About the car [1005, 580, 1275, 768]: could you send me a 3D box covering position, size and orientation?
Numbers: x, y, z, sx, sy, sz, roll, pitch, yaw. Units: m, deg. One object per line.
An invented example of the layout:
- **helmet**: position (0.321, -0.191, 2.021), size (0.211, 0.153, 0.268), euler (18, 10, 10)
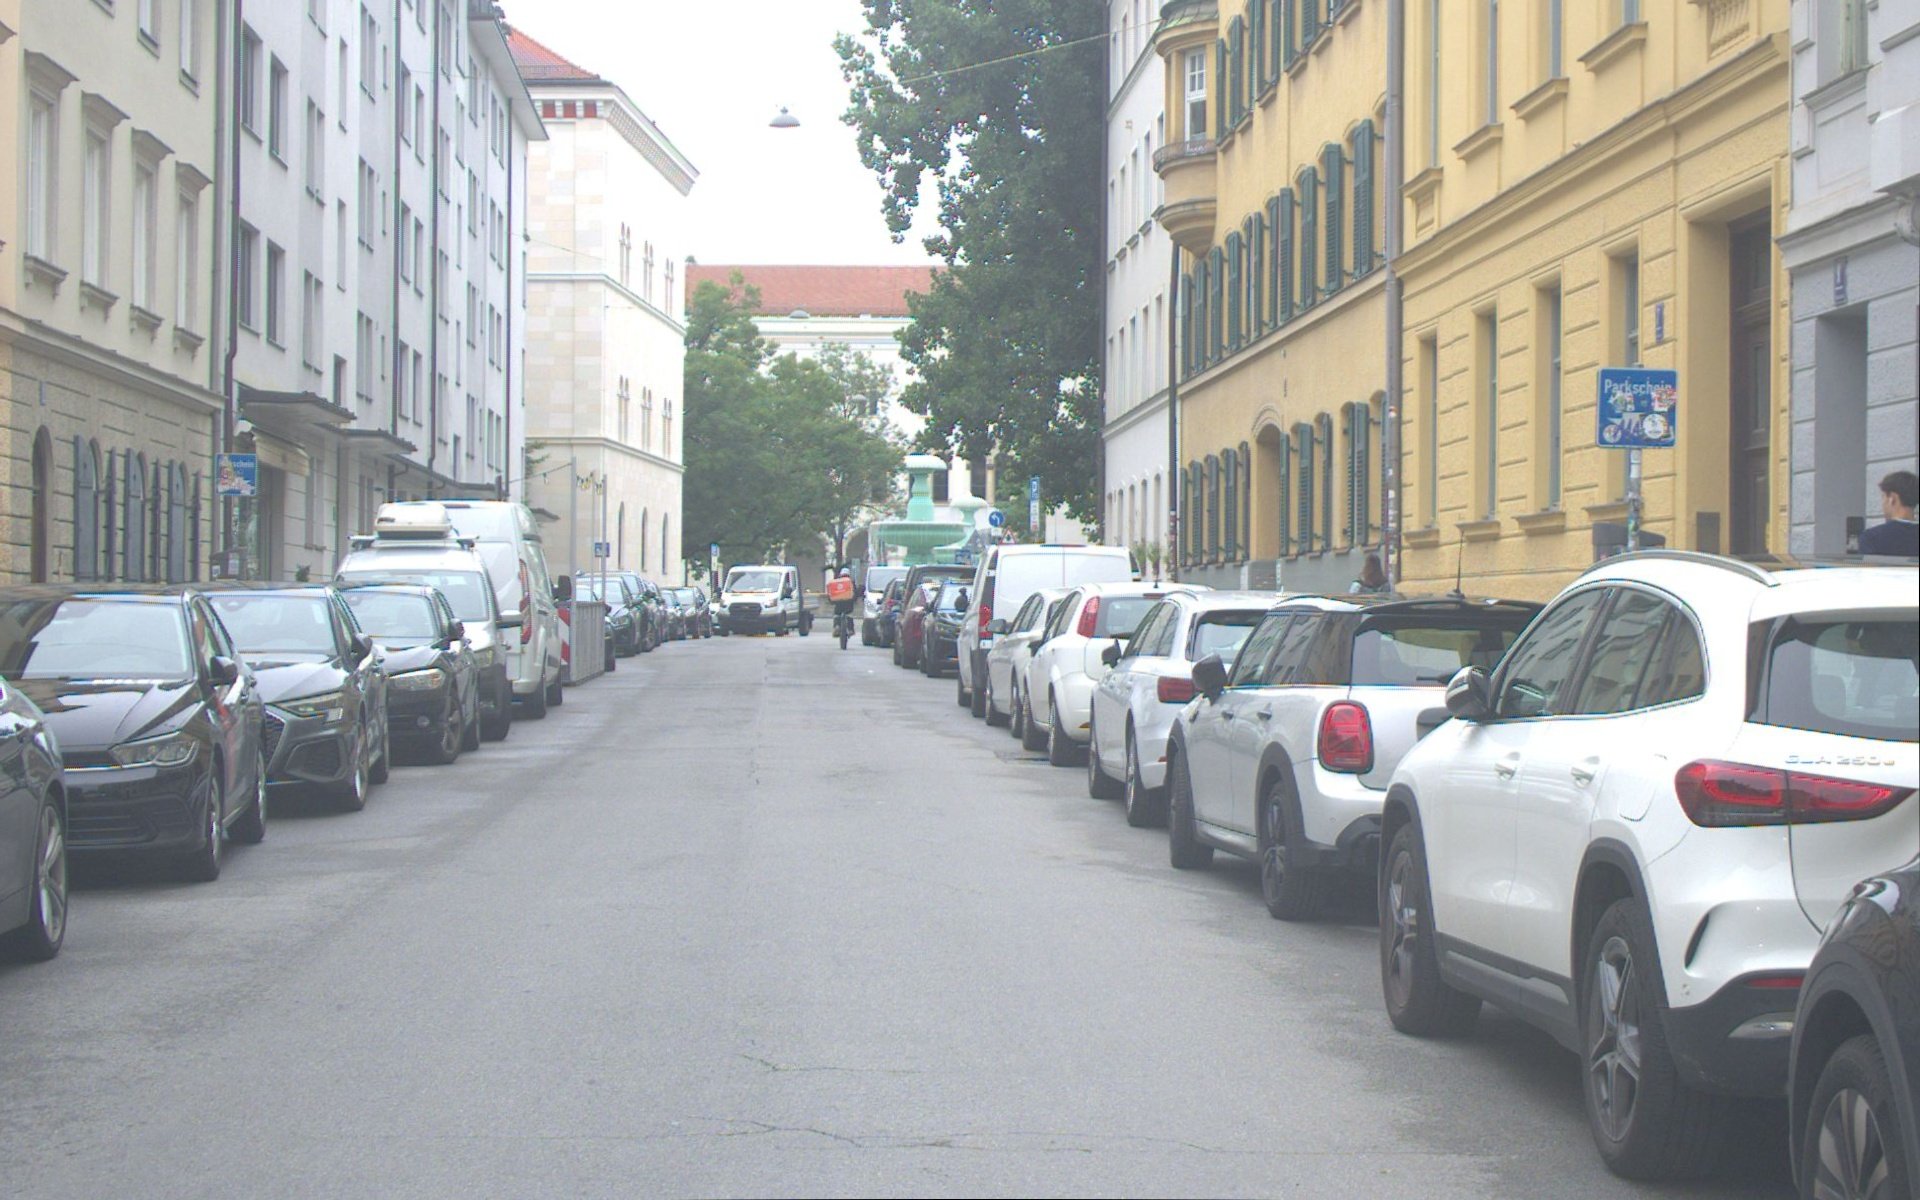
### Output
- **car**: position (1.430, 0.573, 28.840), size (1.708, 1.449, 4.097), euler (1, 0, -5)

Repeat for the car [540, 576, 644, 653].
- **car**: position (-7.116, 0.265, 66.687), size (1.817, 1.439, 3.819), euler (-1, 0, -3)

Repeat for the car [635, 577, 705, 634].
- **car**: position (-8.382, 0.151, 99.620), size (1.706, 1.604, 3.863), euler (-1, 0, 0)

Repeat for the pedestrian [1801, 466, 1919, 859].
- **pedestrian**: position (4.843, 0.315, 17.828), size (0.669, 1.974, 0.708), euler (-3, -1, -2)

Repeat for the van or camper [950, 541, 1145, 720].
- **van or camper**: position (0.916, 0.309, 38.733), size (1.833, 1.865, 5.079), euler (1, 0, -2)

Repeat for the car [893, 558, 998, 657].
- **car**: position (-0.304, 0.135, 65.520), size (1.811, 1.791, 4.247), euler (2, 0, -2)

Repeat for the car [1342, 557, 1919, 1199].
- **car**: position (2.351, 0.693, 10.174), size (1.743, 1.578, 4.467), euler (1, 0, -2)

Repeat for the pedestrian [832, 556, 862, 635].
- **pedestrian**: position (-2.470, -0.090, 74.945), size (0.642, 1.708, 0.843), euler (0, -1, -2)

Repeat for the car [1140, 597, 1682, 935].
- **car**: position (2.018, 0.702, 16.596), size (1.708, 1.400, 4.208), euler (1, 0, -5)

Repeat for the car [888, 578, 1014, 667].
- **car**: position (-0.192, 0.367, 58.517), size (1.811, 1.420, 4.247), euler (2, 0, -4)

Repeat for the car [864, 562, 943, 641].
- **car**: position (-1.432, 0.038, 85.282), size (1.851, 1.913, 4.769), euler (0, 0, -2)

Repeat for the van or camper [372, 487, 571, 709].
- **van or camper**: position (-5.338, -0.032, 38.086), size (1.754, 2.273, 5.274), euler (1, 0, -4)

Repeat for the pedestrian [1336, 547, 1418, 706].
- **pedestrian**: position (4.230, 0.270, 34.897), size (0.660, 1.566, 0.642), euler (-3, -1, -3)

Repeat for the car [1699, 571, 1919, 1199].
- **car**: position (2.525, 0.722, 5.112), size (1.754, 1.516, 4.275), euler (1, 0, -2)

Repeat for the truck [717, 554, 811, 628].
- **truck**: position (-6.120, -0.261, 108.093), size (2.121, 2.240, 6.184), euler (0, -1, 5)

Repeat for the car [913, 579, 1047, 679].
- **car**: position (0.275, 0.432, 53.626), size (1.811, 1.460, 4.247), euler (2, 0, -3)

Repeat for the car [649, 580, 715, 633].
- **car**: position (-8.532, 0.183, 105.843), size (1.706, 1.576, 3.863), euler (-1, 0, 0)

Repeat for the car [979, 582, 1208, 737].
- **car**: position (1.229, 0.535, 33.385), size (1.708, 1.388, 4.207), euler (1, 0, -5)

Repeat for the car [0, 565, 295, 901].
- **car**: position (-4.461, 0.581, 17.354), size (1.754, 1.491, 4.201), euler (1, 0, -5)

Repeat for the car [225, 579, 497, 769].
- **car**: position (-4.769, 0.550, 27.865), size (1.754, 1.404, 4.104), euler (1, 0, -4)

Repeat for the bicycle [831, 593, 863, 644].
- **bicycle**: position (-2.460, 0.401, 74.897), size (0.675, 1.091, 1.760), euler (0, -1, -2)

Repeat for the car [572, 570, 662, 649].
- **car**: position (-7.199, 0.190, 72.418), size (1.706, 1.604, 3.863), euler (-1, 0, -3)

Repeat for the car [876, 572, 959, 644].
- **car**: position (-0.997, 0.183, 79.418), size (1.811, 1.609, 4.156), euler (0, 0, -2)

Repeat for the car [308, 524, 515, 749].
- **car**: position (-5.182, 0.314, 32.943), size (1.754, 1.988, 4.626), euler (1, 0, -7)

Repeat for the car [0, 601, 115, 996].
- **car**: position (-4.217, 0.705, 11.696), size (1.798, 1.335, 4.686), euler (1, 1, -4)

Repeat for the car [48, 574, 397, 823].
- **car**: position (-4.737, 0.571, 22.589), size (1.816, 1.436, 4.132), euler (-1, 1, -6)

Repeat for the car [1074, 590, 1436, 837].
- **car**: position (1.777, 0.648, 22.189), size (1.708, 1.404, 4.815), euler (1, 0, -2)
